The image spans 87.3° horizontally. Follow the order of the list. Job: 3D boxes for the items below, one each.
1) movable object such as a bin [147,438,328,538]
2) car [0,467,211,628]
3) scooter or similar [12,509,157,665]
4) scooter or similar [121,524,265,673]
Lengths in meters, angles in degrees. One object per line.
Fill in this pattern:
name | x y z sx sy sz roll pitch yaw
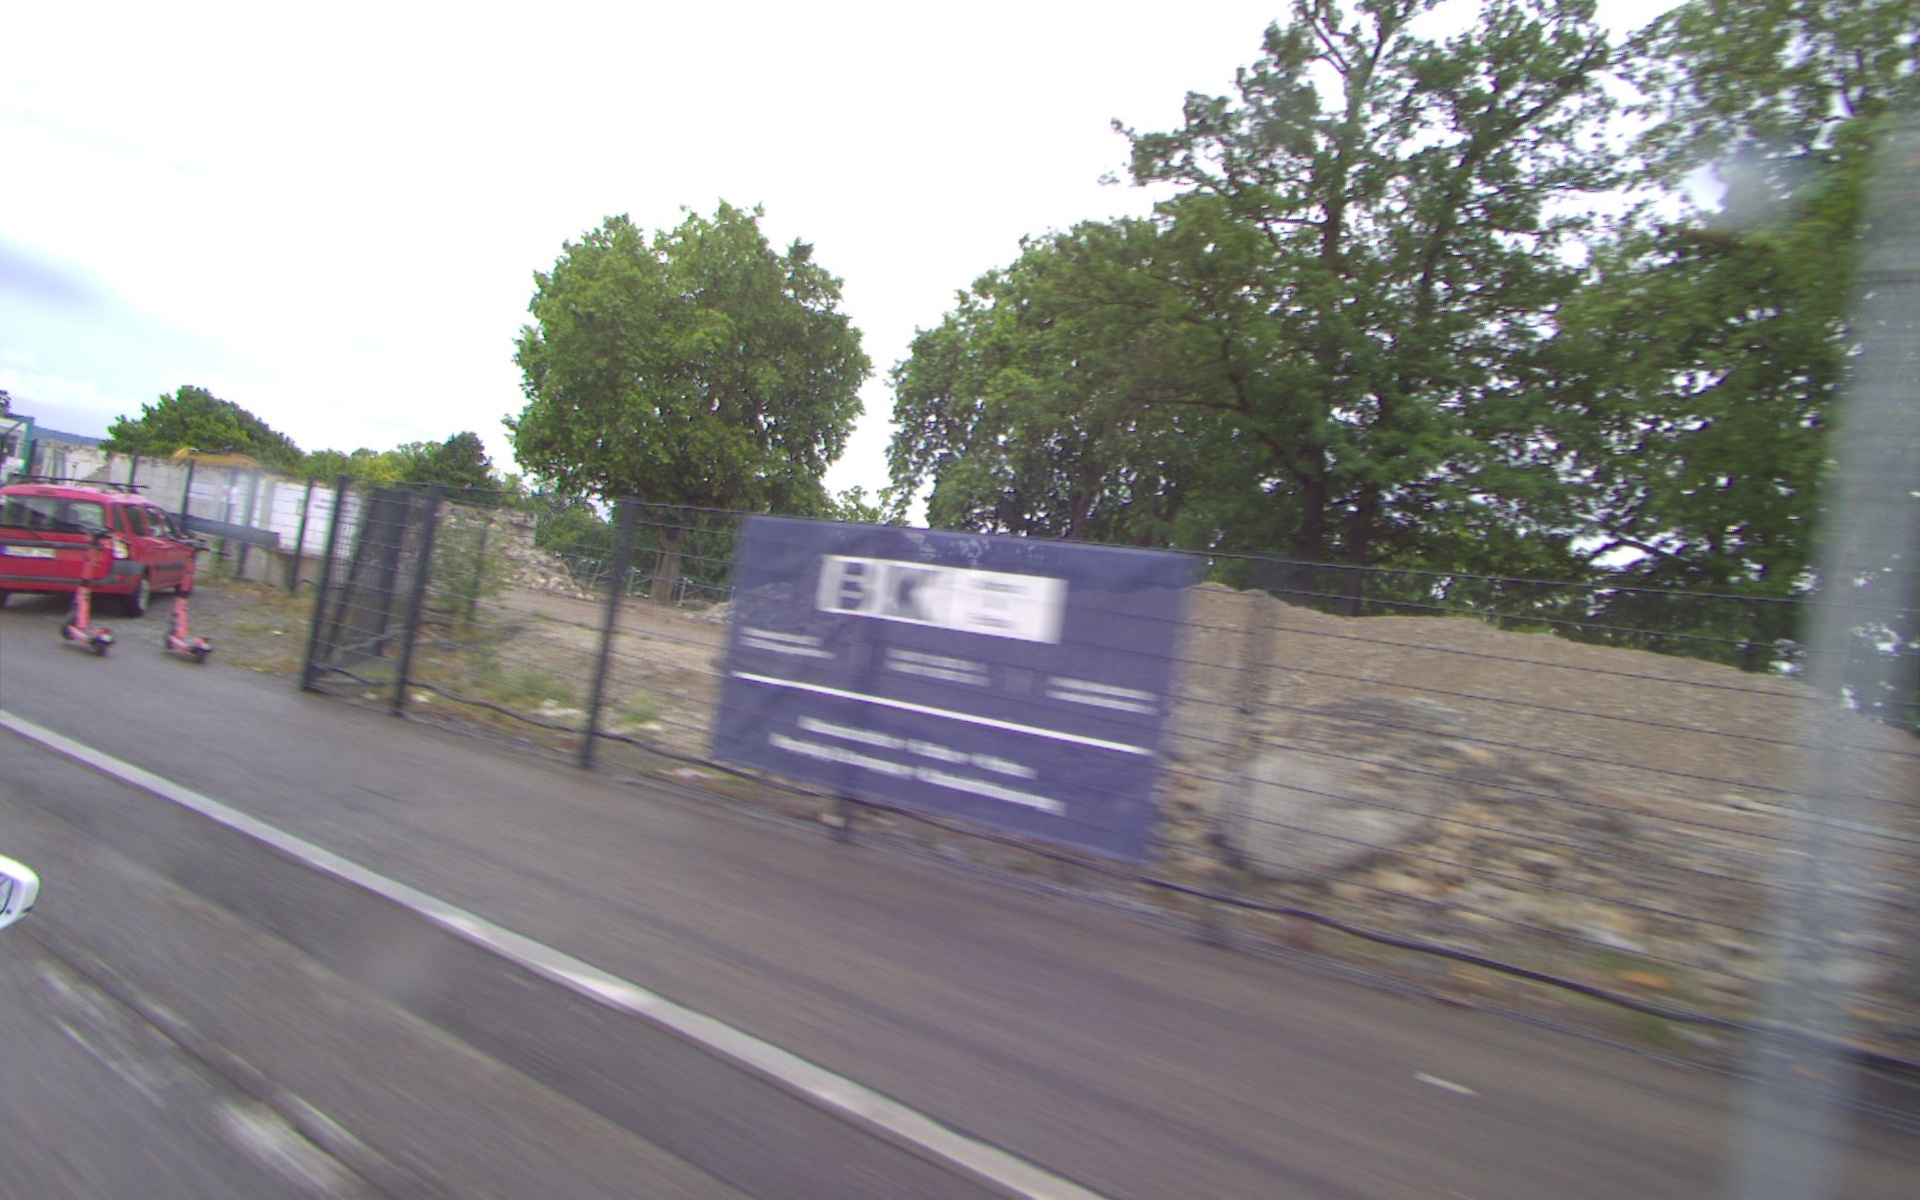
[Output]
movable object such as a bin | -59.437 -9.045 83.165 3.439 6.066 11.231 7 -1 38
car | -12.456 -0.746 14.519 1.805 1.814 4.378 8 -2 -28
scooter or similar | -8.945 -0.161 10.253 1.883 1.367 0.615 7 -1 37
scooter or similar | -8.261 -0.045 10.803 1.883 1.367 0.615 7 -1 37
